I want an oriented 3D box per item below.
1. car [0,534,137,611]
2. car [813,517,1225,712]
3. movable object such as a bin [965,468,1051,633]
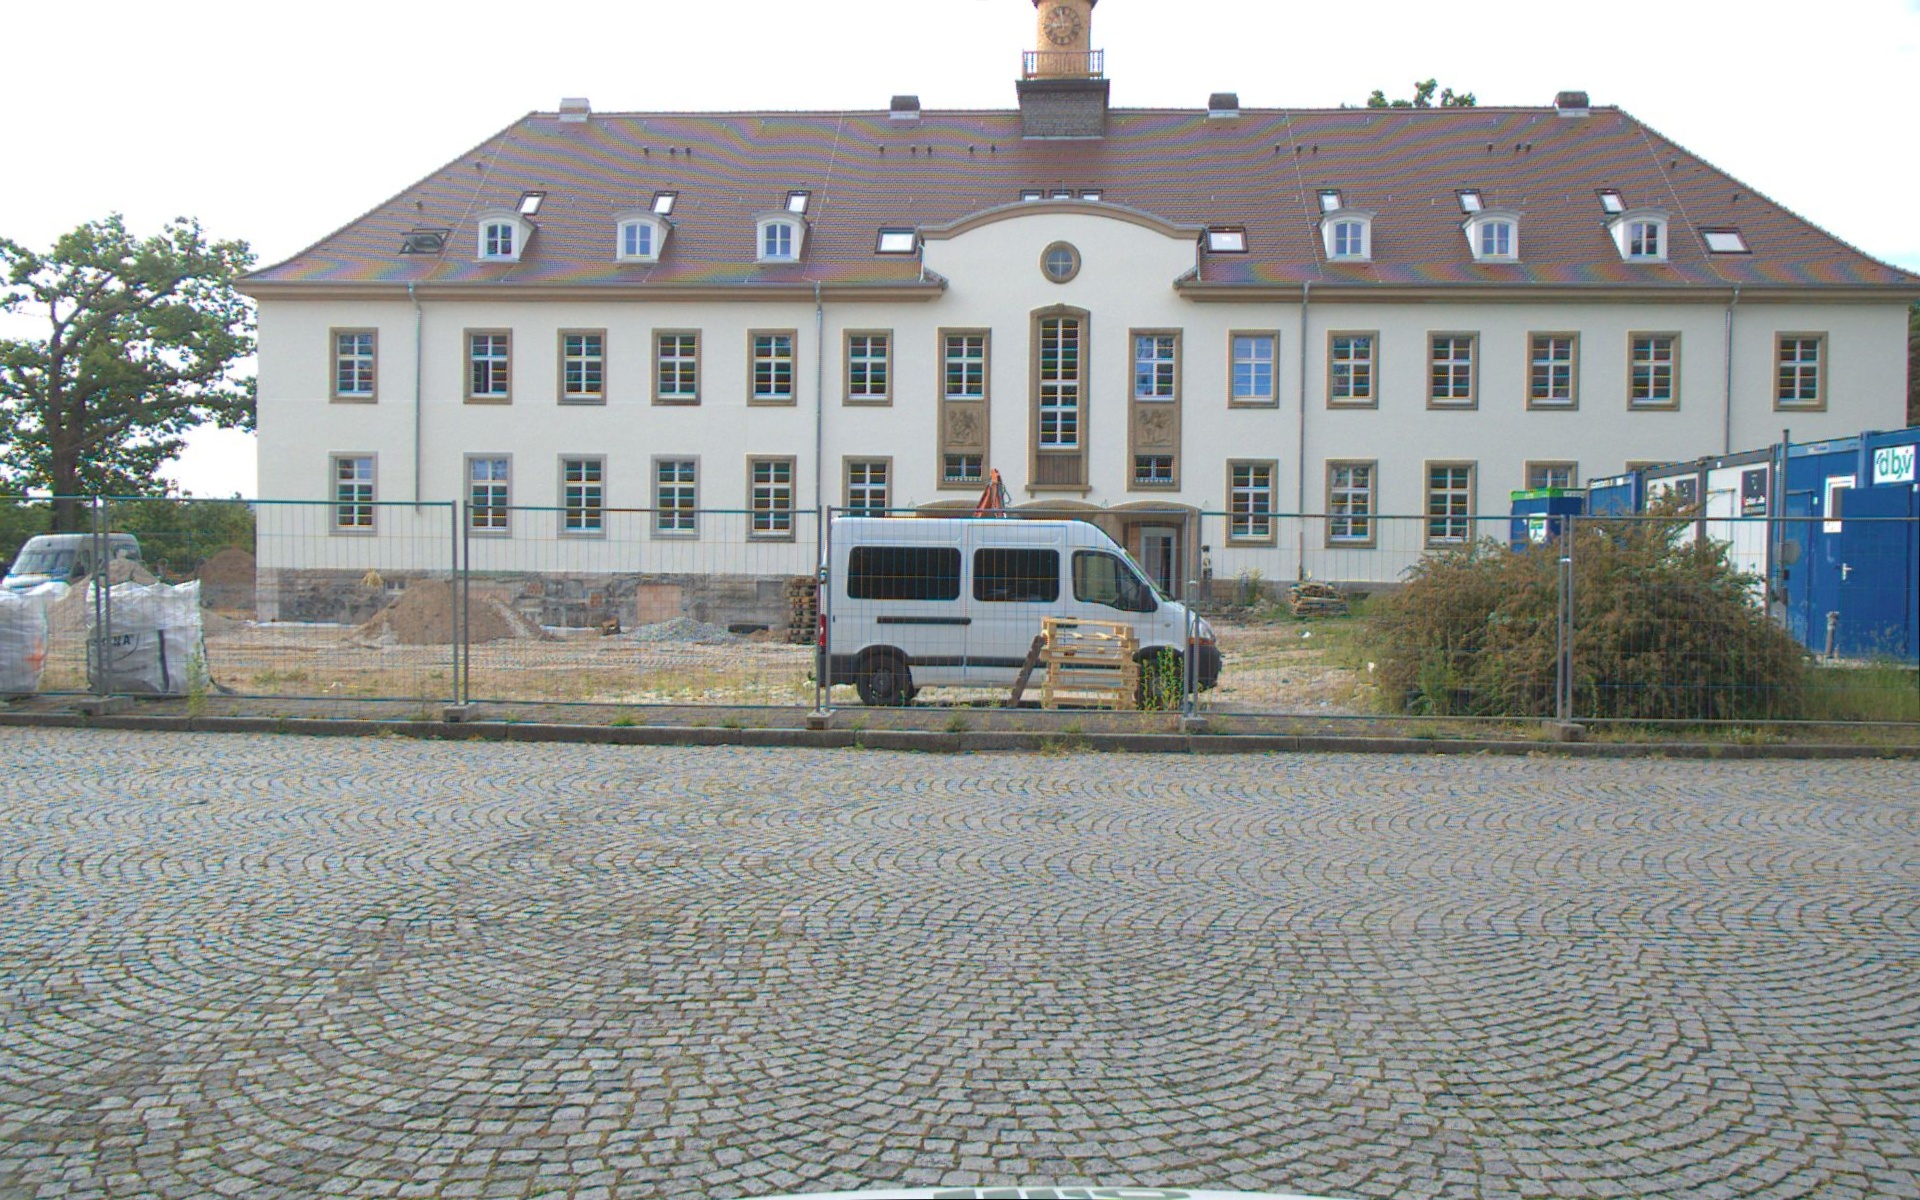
[{"bbox_3d":[-26.935,-0.830,49.840,2.026,2.188,4.897,0,1,-3],"label":"car"},{"bbox_3d":[0.799,0.154,21.735,5.152,2.385,1.911,1,1,5],"label":"car"},{"bbox_3d":[1.133,-1.194,41.418,1.953,3.837,5.318,1,1,0],"label":"movable object such as a bin"}]
